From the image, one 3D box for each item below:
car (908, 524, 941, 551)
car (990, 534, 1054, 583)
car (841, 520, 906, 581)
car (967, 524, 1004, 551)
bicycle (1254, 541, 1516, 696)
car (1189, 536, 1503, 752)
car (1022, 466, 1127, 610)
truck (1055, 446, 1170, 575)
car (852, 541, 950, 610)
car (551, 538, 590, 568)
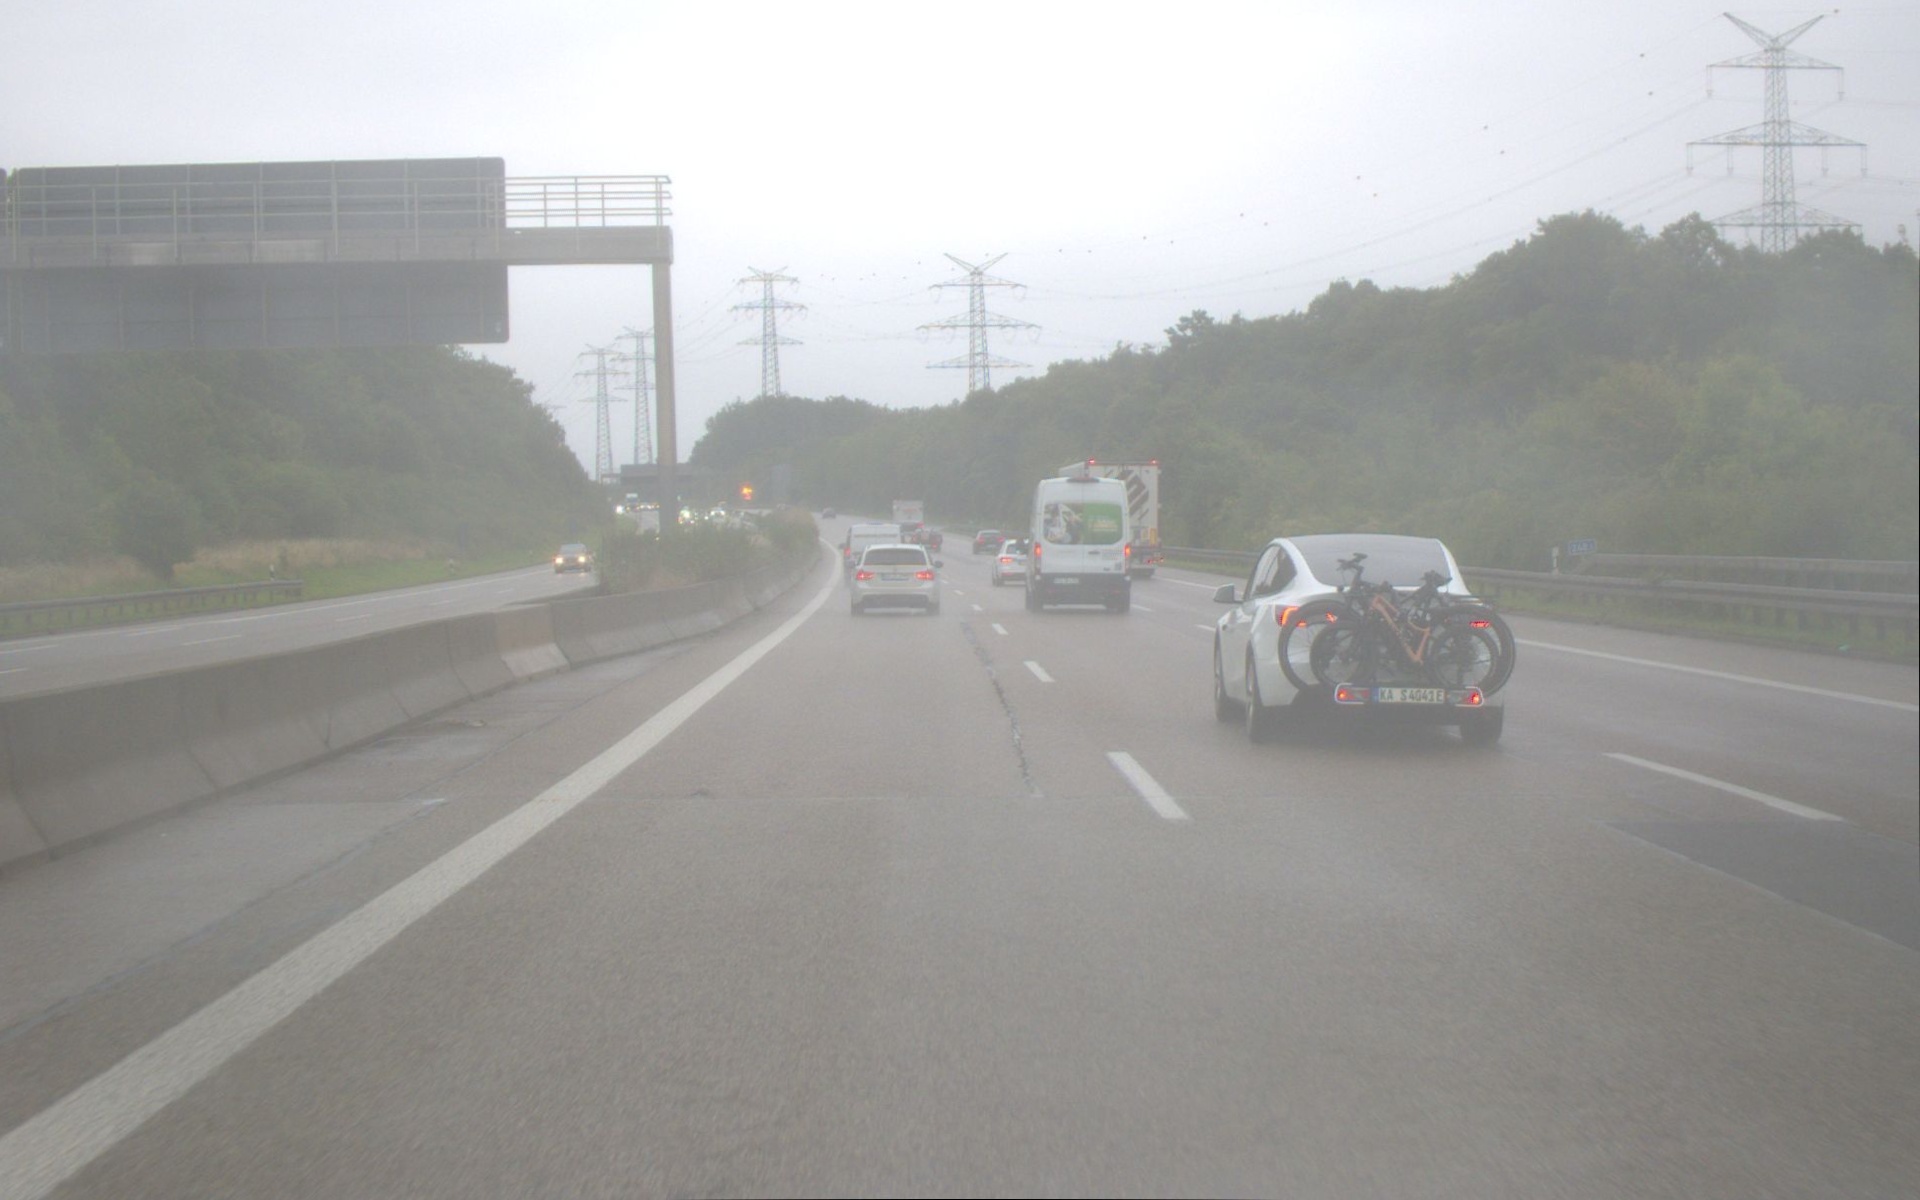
[{"bbox_3d":[-2.211,-3.896,213.908,1.993,1.568,4.000,-2,0,-1],"label":"car"},{"bbox_3d":[1.850,-1.268,104.270,1.857,1.417,4.000,0,1,0],"label":"car"},{"bbox_3d":[-2.556,-1.463,102.109,1.846,1.766,4.000,1,1,-1],"label":"car"},{"bbox_3d":[1.515,-3.685,202.597,1.993,1.481,4.000,-3,1,-1],"label":"car"},{"bbox_3d":[3.038,0.132,24.699,1.753,1.087,0.914,0,0,-1],"label":"bicycle"},{"bbox_3d":[2.990,0.278,27.657,1.860,1.562,4.964,0,1,-1],"label":"car"},{"bbox_3d":[2.339,-1.282,71.052,1.993,2.854,4.000,-1,1,0],"label":"car"},{"bbox_3d":[5.312,-3.124,122.266,3.603,4.317,13.200,-1,1,1],"label":"truck"},{"bbox_3d":[-1.179,-0.506,68.788,1.866,1.284,4.000,-1,1,-1],"label":"car"},{"bbox_3d":[-19.722,-2.394,174.227,1.862,1.437,4.001,-1,1,-5],"label":"car"}]
